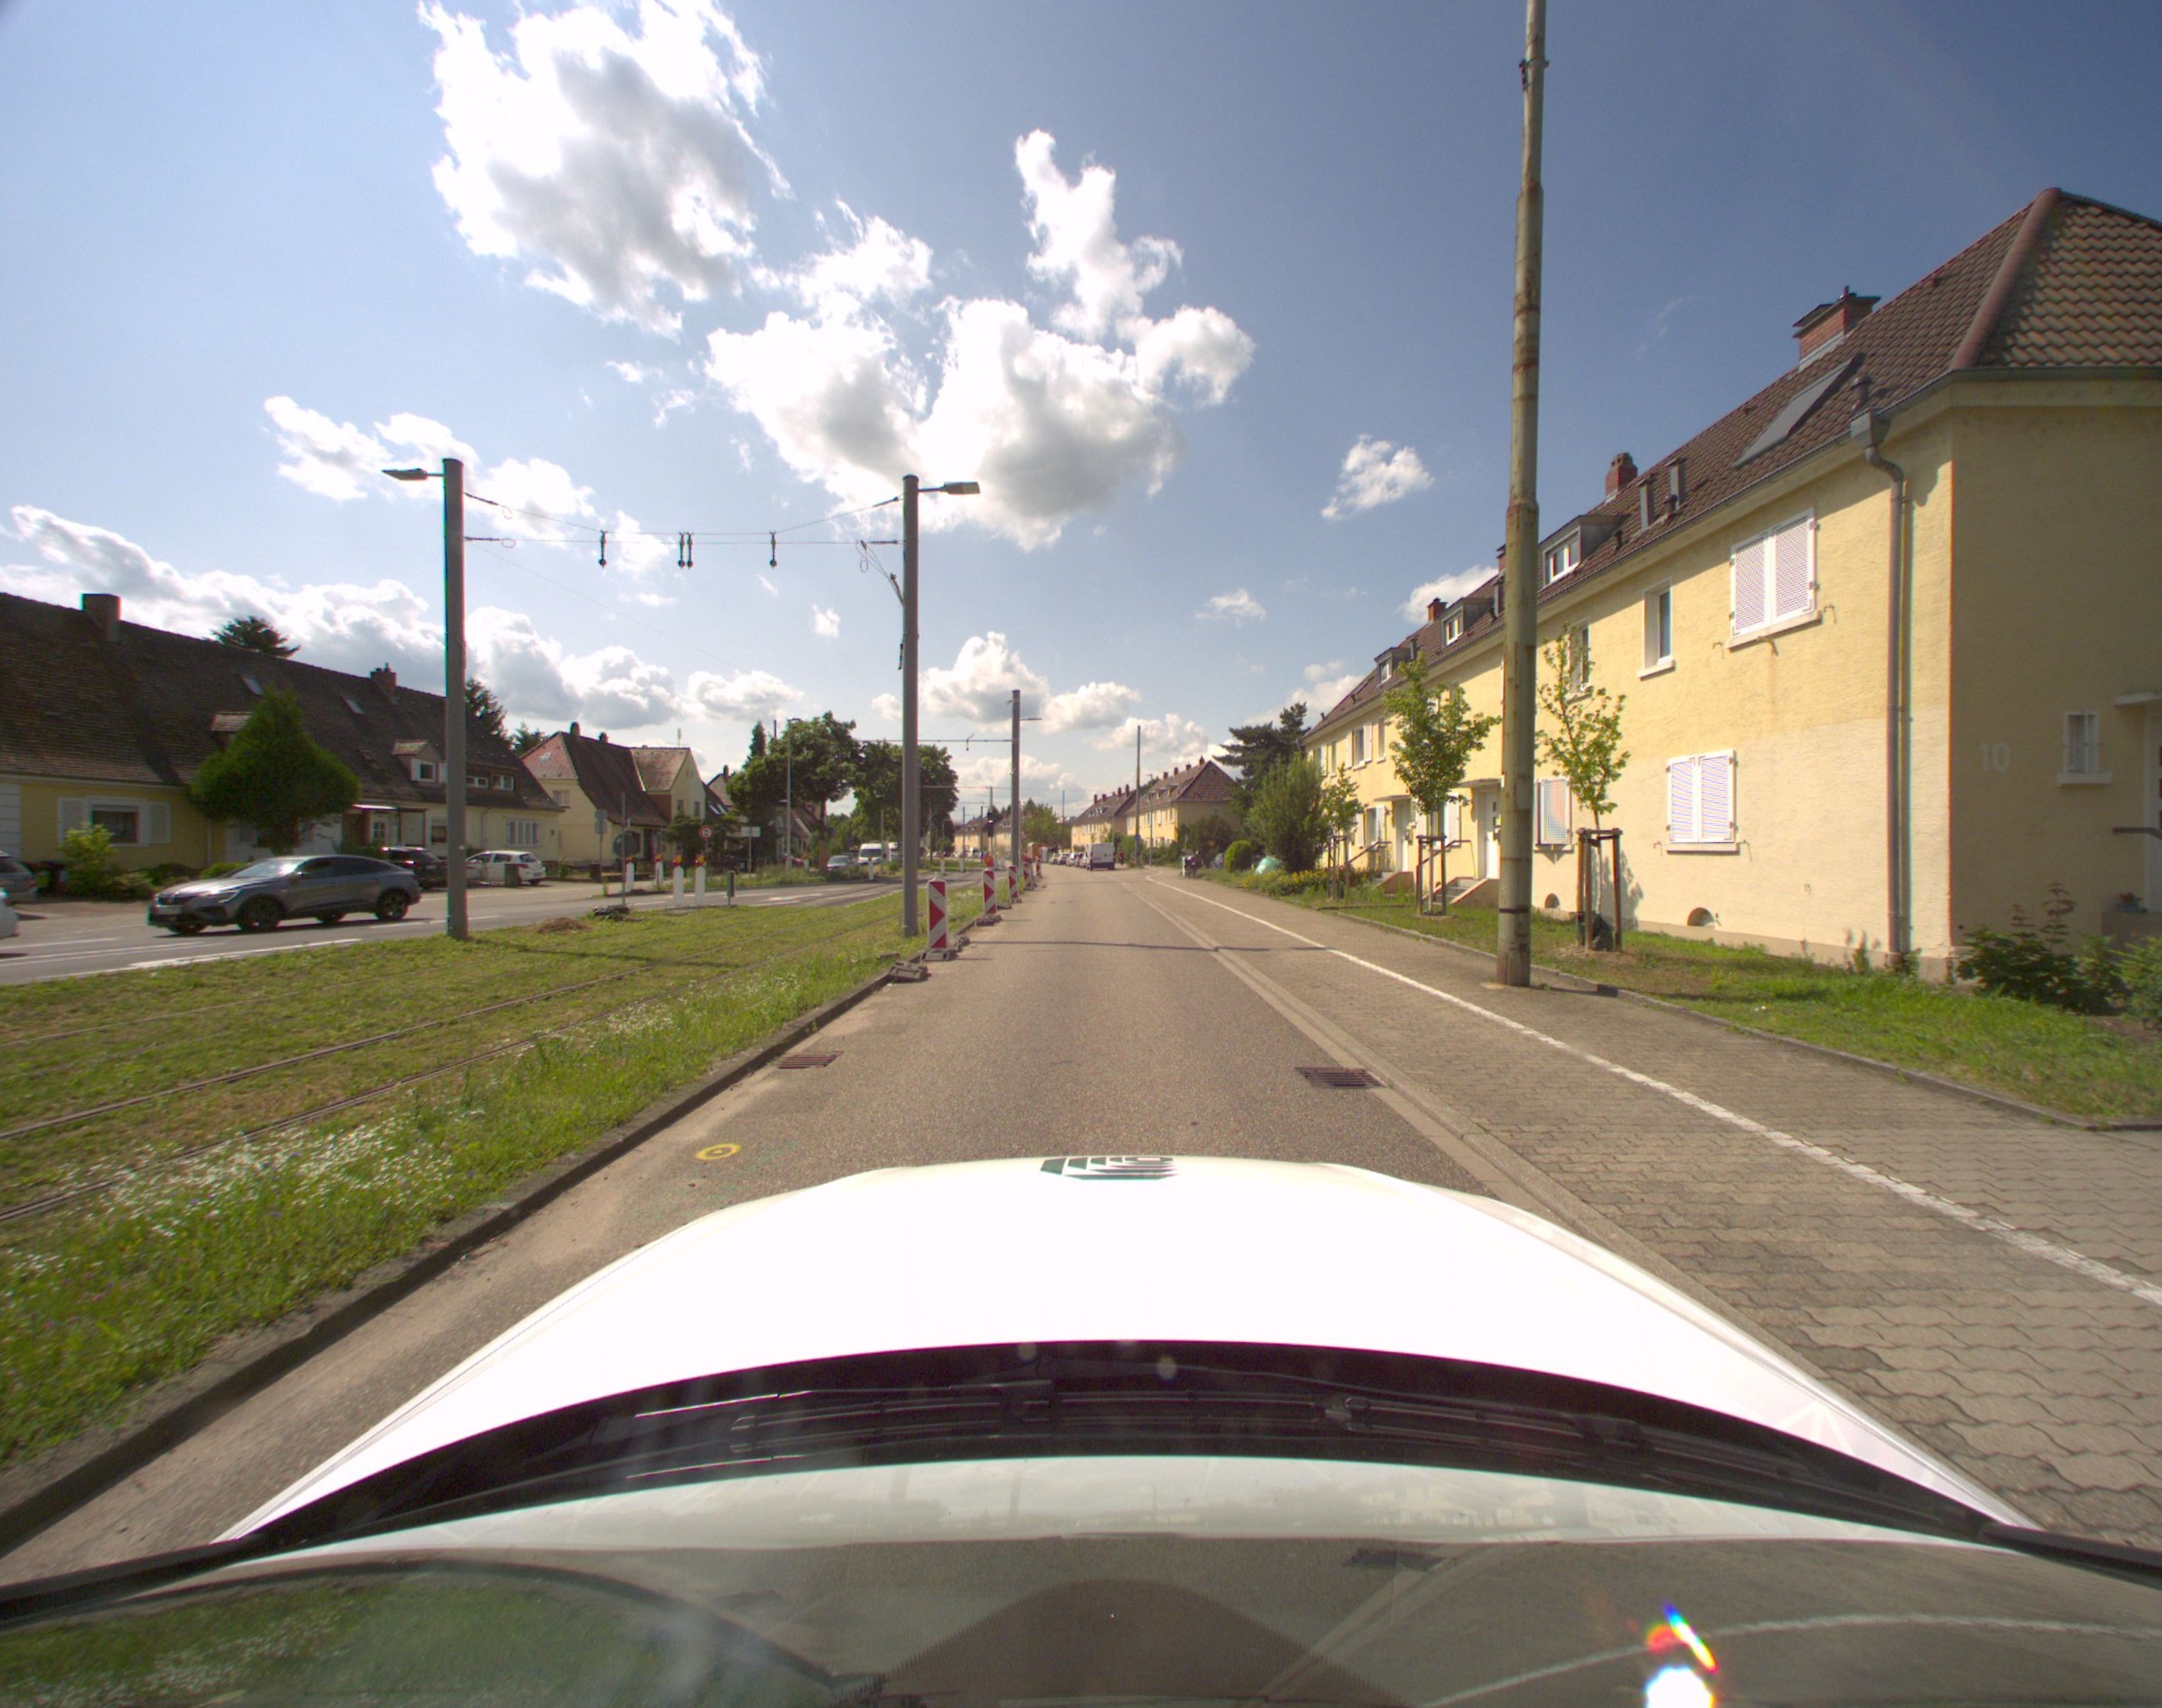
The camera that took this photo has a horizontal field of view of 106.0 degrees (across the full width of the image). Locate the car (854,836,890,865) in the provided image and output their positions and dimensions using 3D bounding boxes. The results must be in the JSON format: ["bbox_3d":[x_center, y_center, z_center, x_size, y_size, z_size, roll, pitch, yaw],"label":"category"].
[{"bbox_3d":[-17.511,-0.280,68.431,2.406,2.338,4.864,0,0,-9],"label":"car"}]

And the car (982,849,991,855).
[{"bbox_3d":[-20.294,-0.362,174.618,1.261,1.350,2.648,0,0,-19],"label":"car"}]

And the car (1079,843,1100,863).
[{"bbox_3d":[0.793,-0.081,77.255,1.565,1.897,3.782,0,0,-6],"label":"car"}]

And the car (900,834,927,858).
[{"bbox_3d":[-16.543,-0.798,80.559,2.406,2.370,4.864,0,1,-9],"label":"car"}]

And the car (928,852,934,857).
[{"bbox_3d":[-41.753,0.146,226.644,1.261,1.186,2.649,0,0,-18],"label":"car"}]

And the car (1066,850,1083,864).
[{"bbox_3d":[-0.705,0.311,88.070,1.565,1.551,3.782,0,0,-6],"label":"car"}]

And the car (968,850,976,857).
[{"bbox_3d":[-25.031,-0.136,186.954,1.170,1.426,2.647,0,0,-20],"label":"car"}]

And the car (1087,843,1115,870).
[{"bbox_3d":[1.603,0.197,67.680,2.060,2.149,4.875,0,0,-2],"label":"car"}]

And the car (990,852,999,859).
[{"bbox_3d":[-18.068,0.323,169.603,1.261,1.426,2.648,0,0,-19],"label":"car"}]

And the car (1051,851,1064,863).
[{"bbox_3d":[-3.091,0.388,106.346,1.565,1.551,3.472,0,0,-6],"label":"car"}]

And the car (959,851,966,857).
[{"bbox_3d":[-28.811,-0.043,197.535,1.262,1.426,2.647,0,0,-20],"label":"car"}]

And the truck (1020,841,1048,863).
[{"bbox_3d":[-7.549,-0.324,129.973,2.645,3.494,9.388,0,0,-15],"label":"truck"}]

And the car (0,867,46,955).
[{"bbox_3d":[-17.516,0.885,10.609,1.836,1.343,4.781,0,0,3],"label":"car"}]

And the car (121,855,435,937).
[{"bbox_3d":[-17.047,0.795,17.734,1.834,1.534,4.747,0,0,7],"label":"car"}]

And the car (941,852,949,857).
[{"bbox_3d":[-35.268,0.081,211.452,1.264,1.426,2.642,0,0,-27],"label":"car"}]

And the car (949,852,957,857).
[{"bbox_3d":[-32.209,0.102,204.706,1.263,1.426,2.645,0,0,-23],"label":"car"}]

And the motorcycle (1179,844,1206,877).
[{"bbox_3d":[5.677,0.338,41.543,1.063,1.635,2.083,0,0,0],"label":"motorcycle"}]

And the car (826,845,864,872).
[{"bbox_3d":[-16.434,0.314,56.846,2.094,1.776,4.108,0,0,-9],"label":"car"}]

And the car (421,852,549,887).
[{"bbox_3d":[-26.039,0.642,35.671,4.093,1.466,1.991,0,0,0],"label":"car"}]

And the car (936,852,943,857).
[{"bbox_3d":[-37.681,0.118,217.300,1.263,1.142,2.645,0,0,-23],"label":"car"}]

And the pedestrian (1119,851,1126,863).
[{"bbox_3d":[4.411,0.351,86.418,0.631,1.255,0.725,0,0,-8],"label":"pedestrian"}]

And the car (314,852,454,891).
[{"bbox_3d":[-26.434,0.634,30.972,3.609,1.404,1.939,0,0,-1],"label":"car"}]

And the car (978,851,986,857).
[{"bbox_3d":[-21.666,-0.016,178.495,1.261,1.350,2.648,0,0,-19],"label":"car"}]

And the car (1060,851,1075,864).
[{"bbox_3d":[-1.724,0.393,99.960,1.565,1.551,3.472,0,0,-6],"label":"car"}]

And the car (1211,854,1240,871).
[{"bbox_3d":[9.109,0.534,51.408,1.307,1.029,2.769,0,0,0],"label":"car"}]

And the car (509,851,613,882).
[{"bbox_3d":[-25.478,0.615,39.952,3.973,1.398,1.704,1,1,0],"label":"car"}]

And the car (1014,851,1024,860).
[{"bbox_3d":[-10.795,0.248,142.227,1.260,1.426,2.651,0,0,-16],"label":"car"}]

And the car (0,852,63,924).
[{"bbox_3d":[-26.174,0.653,18.463,3.941,1.491,1.604,5,0,-1],"label":"car"}]

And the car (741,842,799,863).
[{"bbox_3d":[-26.608,-0.099,69.784,4.098,1.776,2.099,0,0,-3],"label":"car"}]

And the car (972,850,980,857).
[{"bbox_3d":[-23.540,-0.076,182.757,1.170,1.426,2.647,0,0,-20],"label":"car"}]

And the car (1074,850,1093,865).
[{"bbox_3d":[0.263,0.348,82.626,1.565,1.551,3.782,0,0,-6],"label":"car"}]
